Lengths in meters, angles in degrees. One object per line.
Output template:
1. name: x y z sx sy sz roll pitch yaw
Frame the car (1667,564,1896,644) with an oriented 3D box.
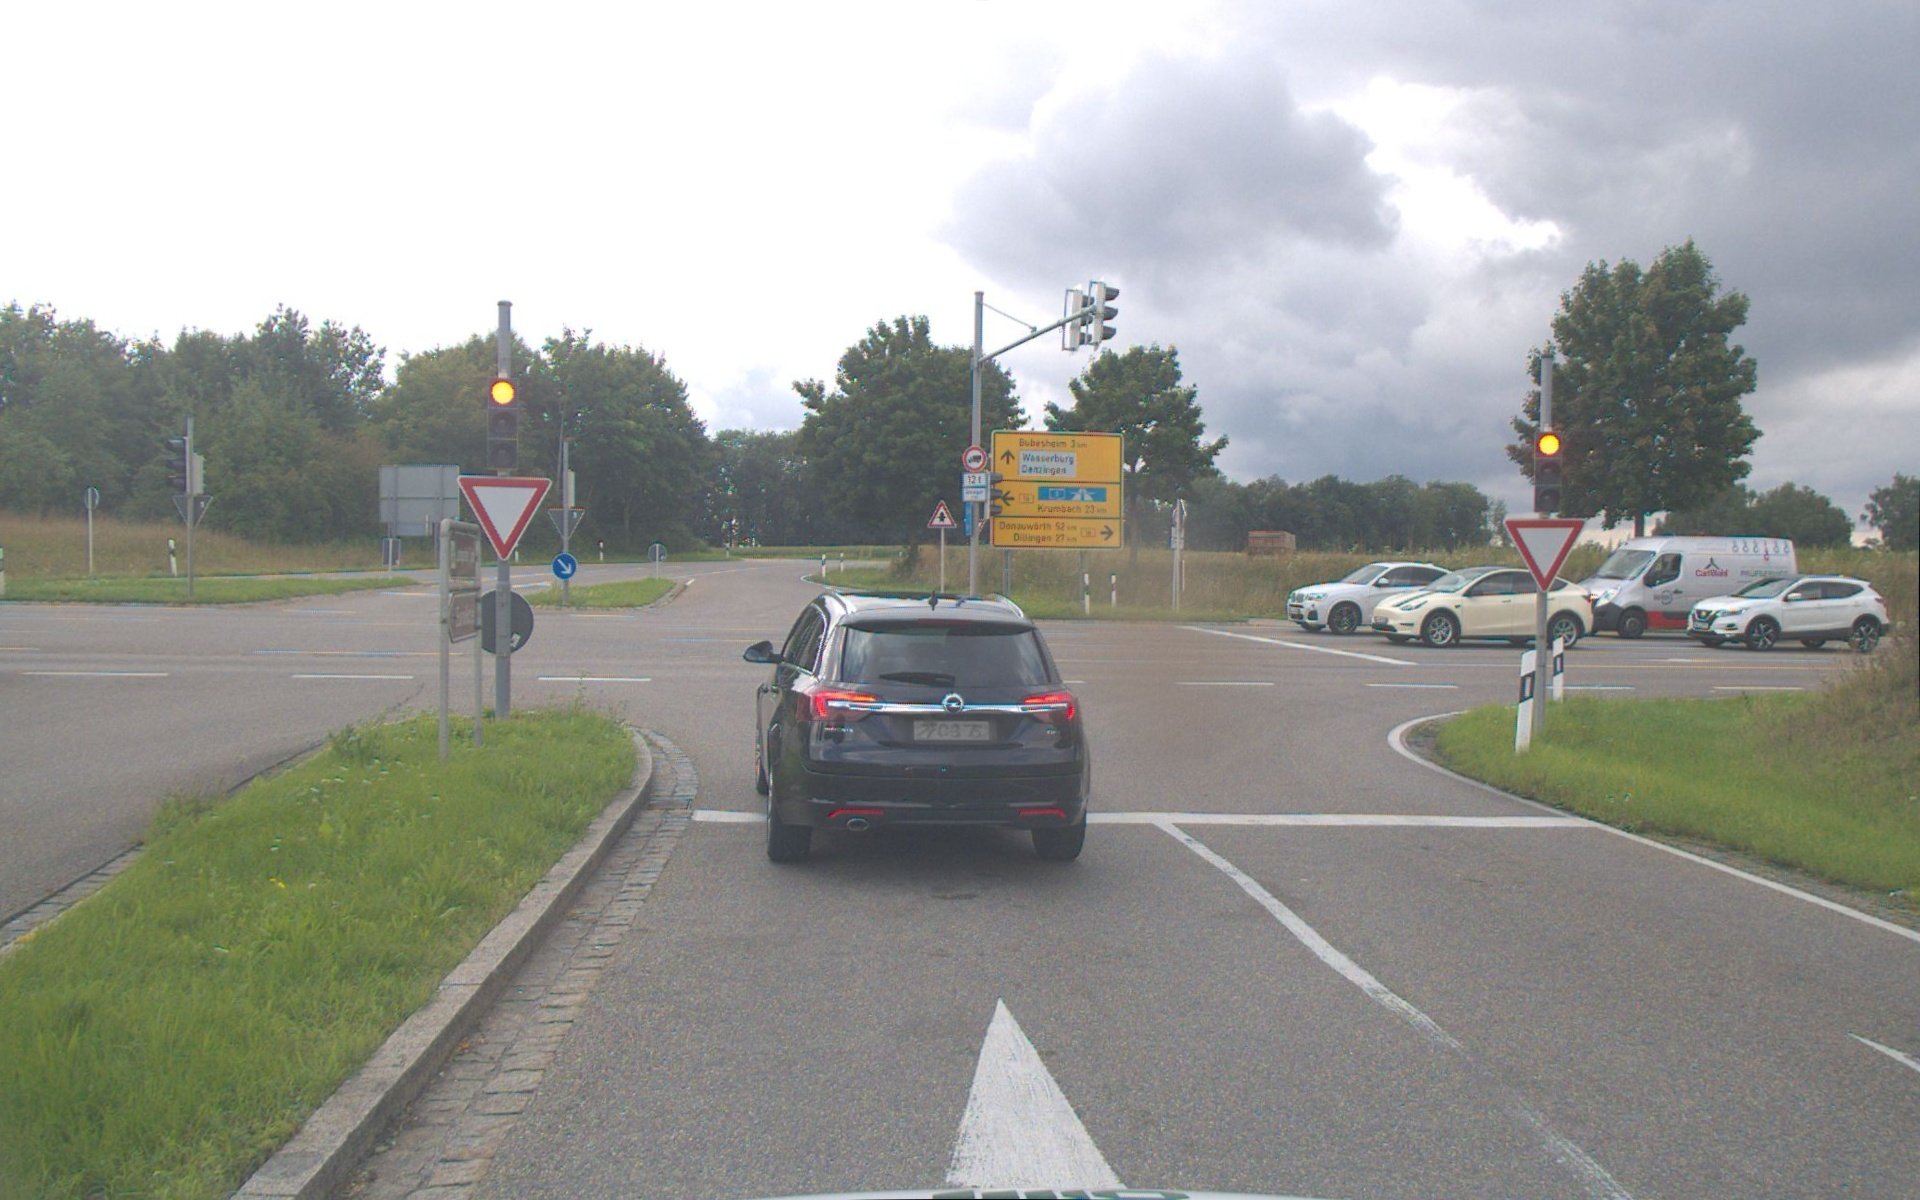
1. car: 18.111 0.078 36.524 4.234 1.658 1.994 1 0 -13

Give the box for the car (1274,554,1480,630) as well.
1. car: 9.643 -0.185 38.325 4.188 1.657 1.993 1 0 -14

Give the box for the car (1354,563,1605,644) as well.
1. car: 10.836 0.074 34.592 4.651 1.592 1.994 1 0 -13

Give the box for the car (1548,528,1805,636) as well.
1. car: 17.508 -0.433 40.530 5.398 2.484 2.391 1 0 -12

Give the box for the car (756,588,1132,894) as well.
1. car: -0.322 0.687 10.349 1.774 1.476 4.265 1 1 -8
